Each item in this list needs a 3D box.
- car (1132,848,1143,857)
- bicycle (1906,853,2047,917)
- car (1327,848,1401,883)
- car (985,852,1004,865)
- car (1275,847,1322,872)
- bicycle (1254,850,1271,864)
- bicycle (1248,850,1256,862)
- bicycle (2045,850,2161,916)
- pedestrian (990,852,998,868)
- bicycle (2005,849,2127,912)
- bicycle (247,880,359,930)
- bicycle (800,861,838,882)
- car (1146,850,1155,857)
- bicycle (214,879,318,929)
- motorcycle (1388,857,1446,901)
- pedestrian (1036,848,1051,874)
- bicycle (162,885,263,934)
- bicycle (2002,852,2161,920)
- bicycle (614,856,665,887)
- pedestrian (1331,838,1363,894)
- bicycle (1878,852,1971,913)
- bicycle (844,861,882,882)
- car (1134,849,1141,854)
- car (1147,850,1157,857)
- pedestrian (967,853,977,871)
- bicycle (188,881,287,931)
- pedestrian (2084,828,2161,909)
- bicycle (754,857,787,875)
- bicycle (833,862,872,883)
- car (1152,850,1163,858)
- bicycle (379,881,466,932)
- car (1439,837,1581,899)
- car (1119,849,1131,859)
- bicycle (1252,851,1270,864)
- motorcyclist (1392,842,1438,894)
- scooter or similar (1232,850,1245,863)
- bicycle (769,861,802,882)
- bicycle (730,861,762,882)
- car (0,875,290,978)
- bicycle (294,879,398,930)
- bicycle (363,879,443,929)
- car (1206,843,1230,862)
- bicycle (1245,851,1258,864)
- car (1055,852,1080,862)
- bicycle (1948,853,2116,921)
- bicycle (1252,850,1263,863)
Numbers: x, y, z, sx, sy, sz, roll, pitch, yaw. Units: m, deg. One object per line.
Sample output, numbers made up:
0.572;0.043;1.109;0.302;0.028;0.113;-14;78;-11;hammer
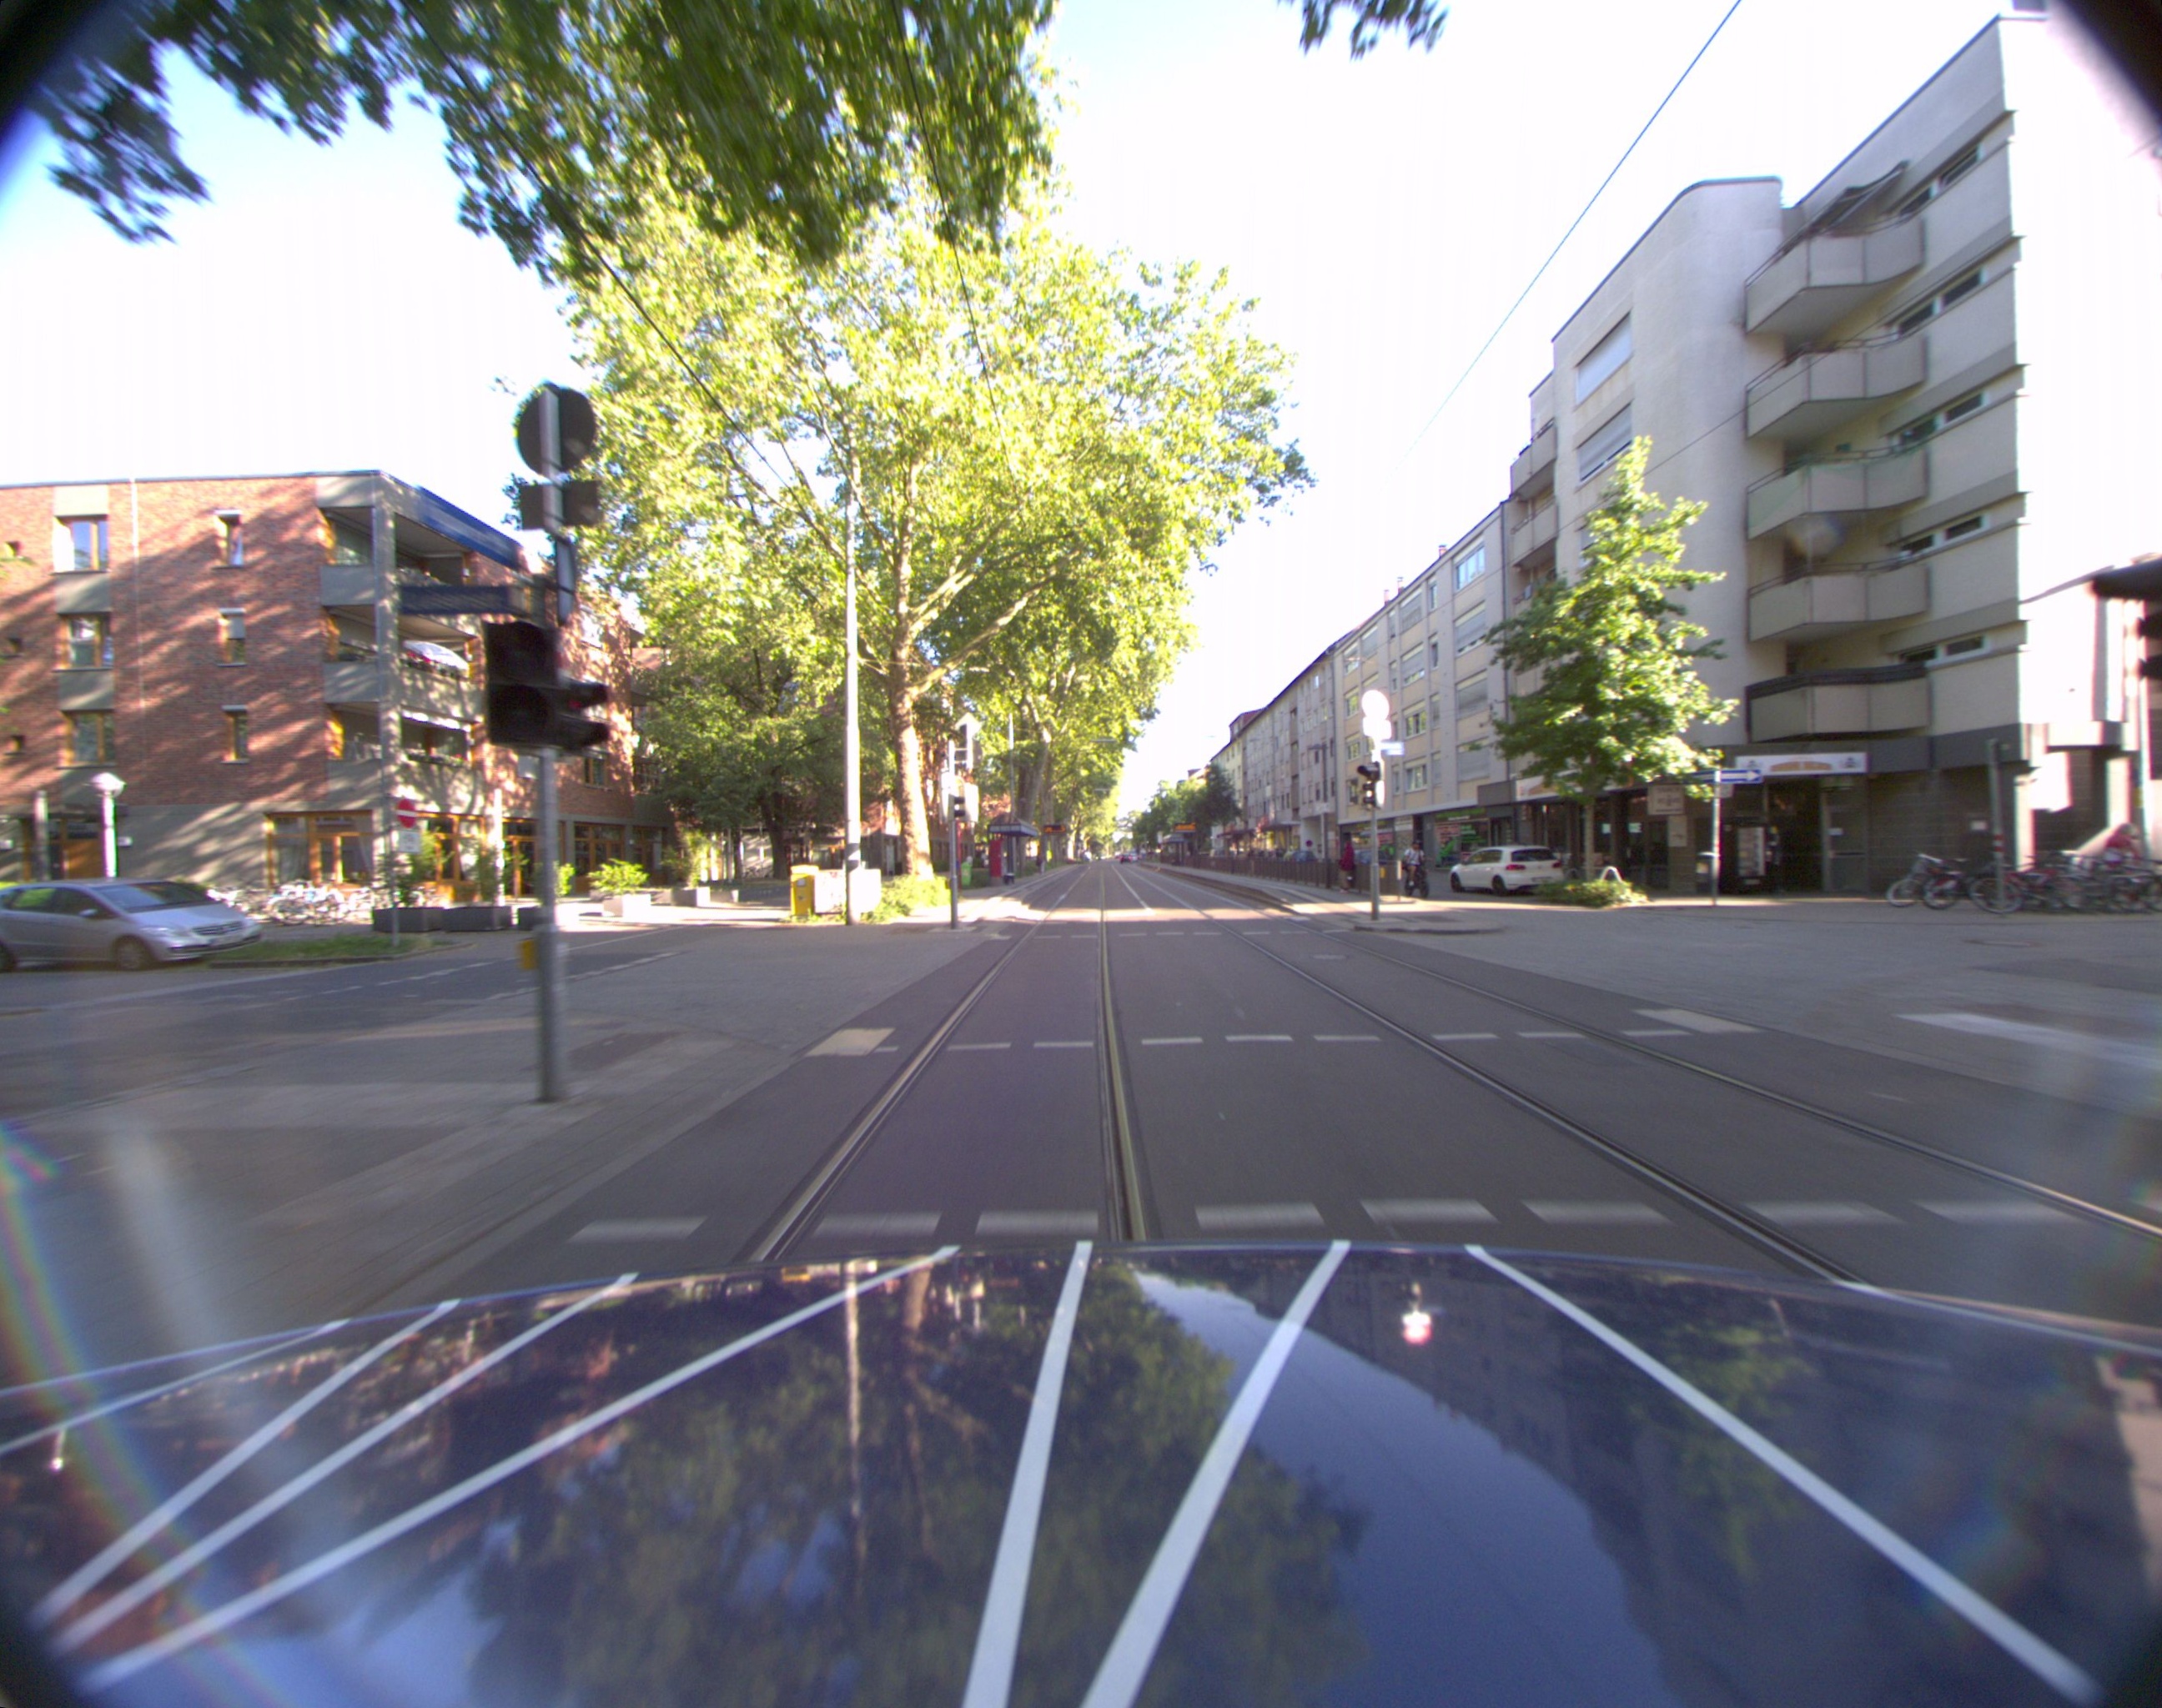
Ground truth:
10.092;-0.288;135.944;1.766;1.417;4.000;-1;0;2;car
17.033;0.581;14.474;1.862;1.150;0.572;-1;1;6;bicycle
13.203;0.485;35.732;1.961;1.535;4.389;0;0;2;car
-10.608;0.564;93.415;1.657;1.499;3.961;-1;0;2;car
13.315;0.325;46.839;1.799;1.455;4.282;0;0;2;car
15.469;0.274;64.706;0.561;1.150;2.028;-1;0;-14;bicycle
16.015;0.195;71.276;0.513;1.150;1.688;-1;0;5;bicycle
18.801;0.519;13.712;1.786;1.150;0.572;-1;1;12;bicycle
-9.356;0.639;81.578;0.710;1.681;0.748;-1;1;0;pedestrian
18.942;0.495;14.623;1.789;1.150;0.572;-1;1;-5;bicycle
-20.043;1.286;19.641;0.732;1.150;2.051;0;1;2;bicycle
-14.992;1.005;43.468;2.035;1.150;0.572;0;1;7;bicycle
15.187;-0.045;165.629;1.998;1.521;3.679;-1;0;4;car
-20.993;1.270;19.624;0.662;1.150;1.851;0;1;1;bicycle
9.629;0.692;21.864;0.851;1.157;1.915;-1;0;1;motorcycle
-2.354;0.438;47.899;0.769;1.650;0.916;-1;1;-14;pedestrian
-22.571;1.423;19.791;0.662;1.150;1.697;0;1;1;bicycle
17.796;0.550;13.472;1.785;1.150;0.573;-1;1;32;bicycle
-17.397;0.678;29.909;1.930;1.150;0.573;1;1;17;bicycle
7.686;0.351;21.960;0.655;1.576;0.772;-1;1;2;pedestrian
17.263;0.556;15.548;2.039;1.150;0.571;-1;1;-21;bicycle
-12.461;1.006;43.466;2.034;1.150;0.572;1;1;12;bicycle
17.206;-0.662;231.479;1.998;1.521;3.678;-1;0;1;car
15.044;-0.078;160.806;1.998;1.521;3.679;-1;0;4;car
-10.433;0.769;72.657;0.768;1.650;0.917;-1;1;2;pedestrian
-21.846;1.328;19.729;0.662;1.150;1.697;0;1;1;bicycle
20.650;0.279;15.001;0.726;1.547;0.726;-1;1;13;pedestrian
-19.836;0.766;48.498;1.953;1.150;0.732;0;1;-24;bicycle
-12.816;1.046;42.597;2.036;1.150;0.572;0;1;2;bicycle
14.650;-0.038;145.128;1.998;1.521;3.679;-1;0;4;car
-16.417;1.282;19.002;0.601;1.150;1.698;0;1;5;bicycle
13.033;0.388;23.420;1.882;1.641;4.358;-3;0;1;car
7.016;0.027;121.801;1.766;1.579;4.000;-1;0;0;car
15.213;0.291;64.342;0.561;1.150;2.028;-1;0;-14;bicycle
9.612;0.389;21.913;0.875;1.432;1.016;-1;1;1;motorcyclist
14.915;0.227;72.068;0.447;1.167;1.272;-2;1;-35;scooter or similar
-16.959;1.007;43.569;1.681;1.150;0.572;0;1;7;bicycle
-20.108;1.032;45.648;0.707;1.150;2.039;1;1;11;bicycle
-17.665;1.302;14.179;3.871;1.683;1.866;-1;0;1;car
-18.754;1.266;19.459;0.637;1.150;1.982;0;1;4;bicycle
-17.501;1.269;19.659;0.601;1.150;1.697;0;1;-3;bicycle
14.470;-0.174;80.384;1.808;1.923;4.049;-1;0;0;car
15.438;0.302;68.792;0.572;1.150;2.037;-1;0;-4;bicycle
-2.203;0.420;122.788;3.871;1.521;2.000;-1;0;3;car
16.928;0.576;13.582;1.785;1.150;0.573;-1;1;32;bicycle
15.524;0.221;66.858;0.494;1.150;1.751;-1;0;-4;bicycle
